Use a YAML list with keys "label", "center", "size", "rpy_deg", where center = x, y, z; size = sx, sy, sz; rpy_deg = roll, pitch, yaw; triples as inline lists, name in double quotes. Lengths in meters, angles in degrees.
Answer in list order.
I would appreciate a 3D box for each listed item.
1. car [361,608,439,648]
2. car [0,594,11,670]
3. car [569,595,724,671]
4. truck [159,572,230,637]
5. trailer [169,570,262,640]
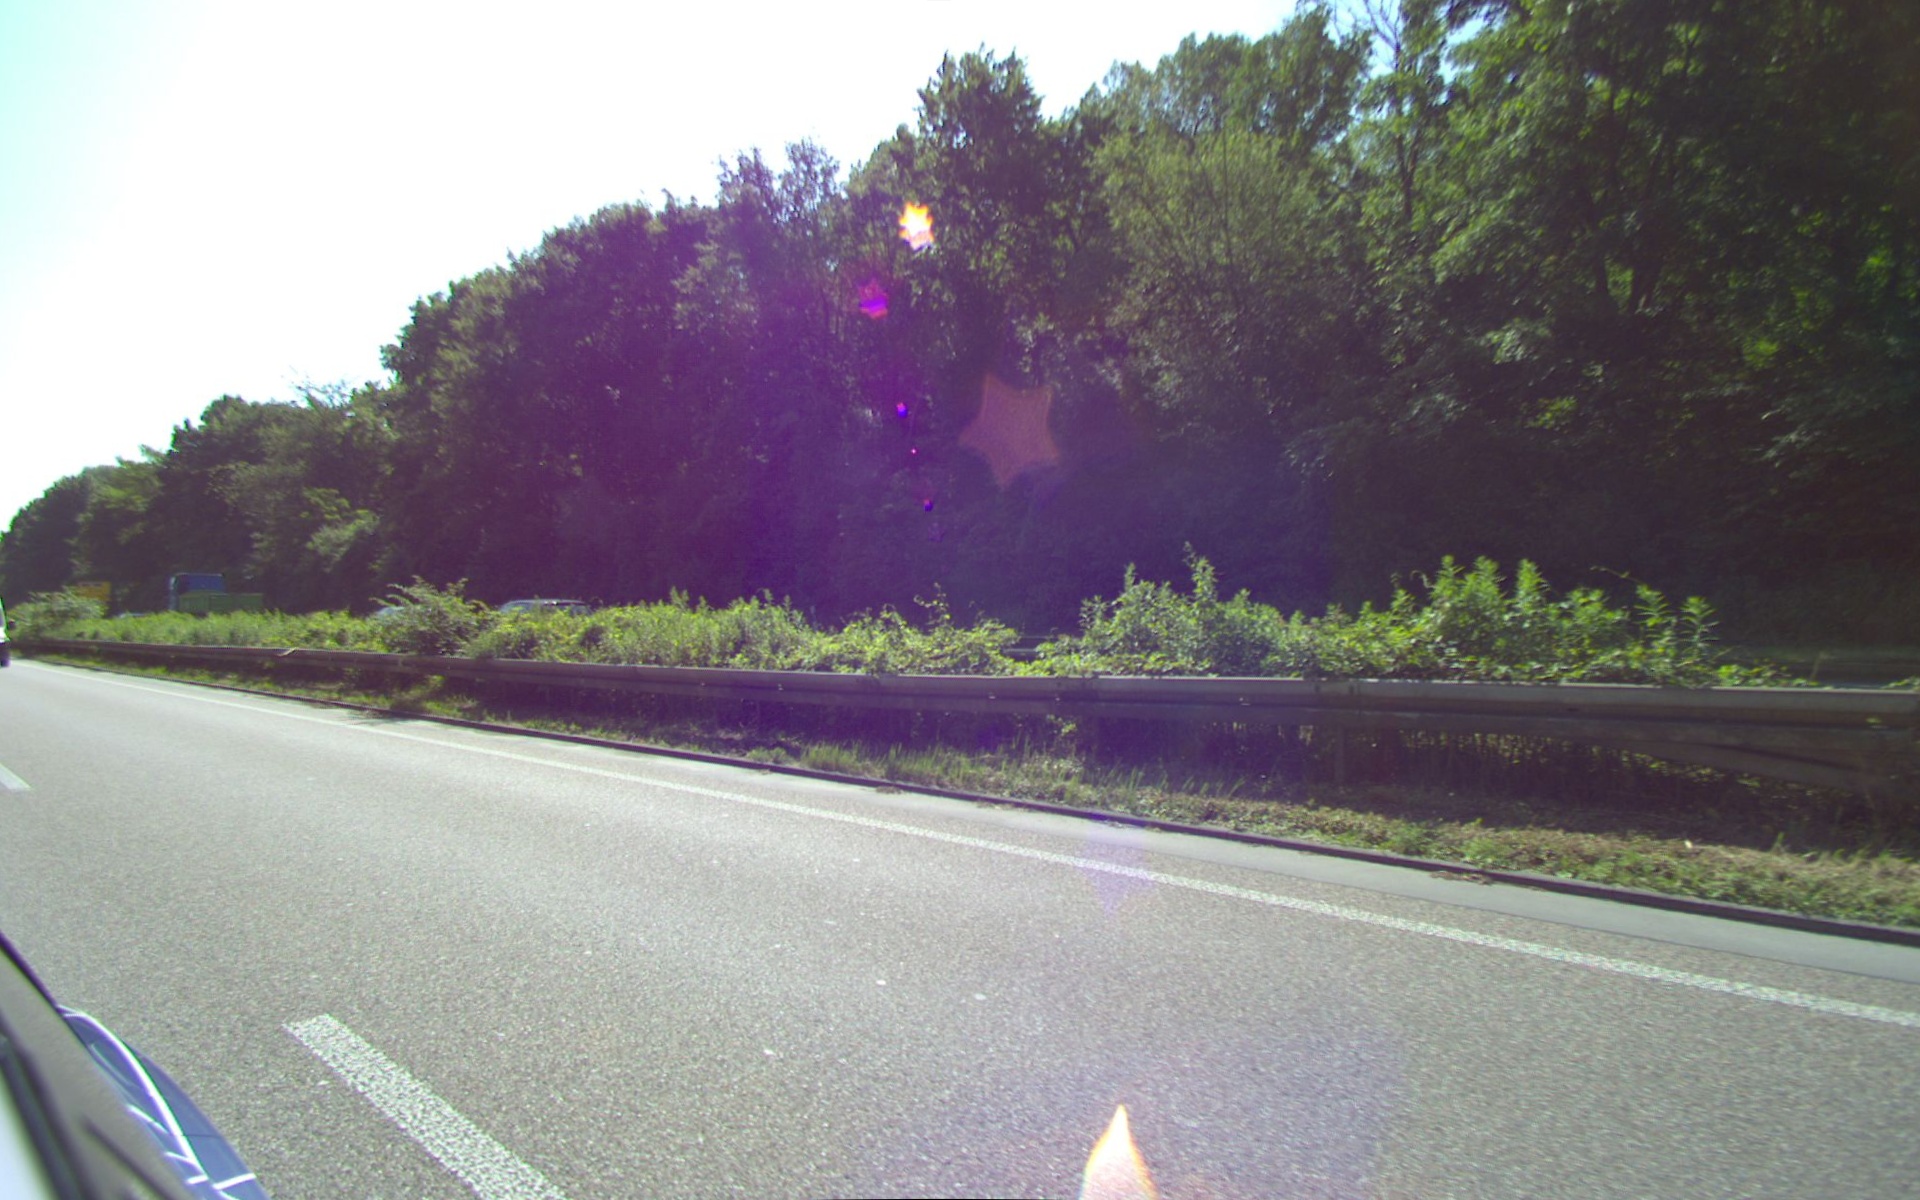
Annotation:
- label: "car"
  center: [-22.231, 1.087, 40.152]
  size: [3.623, 1.484, 1.654]
  rpy_deg: [-1, 0, 43]
- label: "car"
  center: [-33.542, 1.087, 33.950]
  size: [4.635, 2.462, 2.020]
  rpy_deg: [-1, 0, 41]
- label: "car"
  center: [-6.918, 0.692, 22.181]
  size: [3.623, 1.484, 1.654]
  rpy_deg: [-2, 0, 43]
- label: "truck"
  center: [-45.751, 0.285, 60.458]
  size: [3.999, 3.734, 2.618]
  rpy_deg: [-1, 0, 42]
- label: "trailer"
  center: [-42.299, 0.307, 57.389]
  size: [7.982, 3.740, 2.660]
  rpy_deg: [-1, 0, 42]
